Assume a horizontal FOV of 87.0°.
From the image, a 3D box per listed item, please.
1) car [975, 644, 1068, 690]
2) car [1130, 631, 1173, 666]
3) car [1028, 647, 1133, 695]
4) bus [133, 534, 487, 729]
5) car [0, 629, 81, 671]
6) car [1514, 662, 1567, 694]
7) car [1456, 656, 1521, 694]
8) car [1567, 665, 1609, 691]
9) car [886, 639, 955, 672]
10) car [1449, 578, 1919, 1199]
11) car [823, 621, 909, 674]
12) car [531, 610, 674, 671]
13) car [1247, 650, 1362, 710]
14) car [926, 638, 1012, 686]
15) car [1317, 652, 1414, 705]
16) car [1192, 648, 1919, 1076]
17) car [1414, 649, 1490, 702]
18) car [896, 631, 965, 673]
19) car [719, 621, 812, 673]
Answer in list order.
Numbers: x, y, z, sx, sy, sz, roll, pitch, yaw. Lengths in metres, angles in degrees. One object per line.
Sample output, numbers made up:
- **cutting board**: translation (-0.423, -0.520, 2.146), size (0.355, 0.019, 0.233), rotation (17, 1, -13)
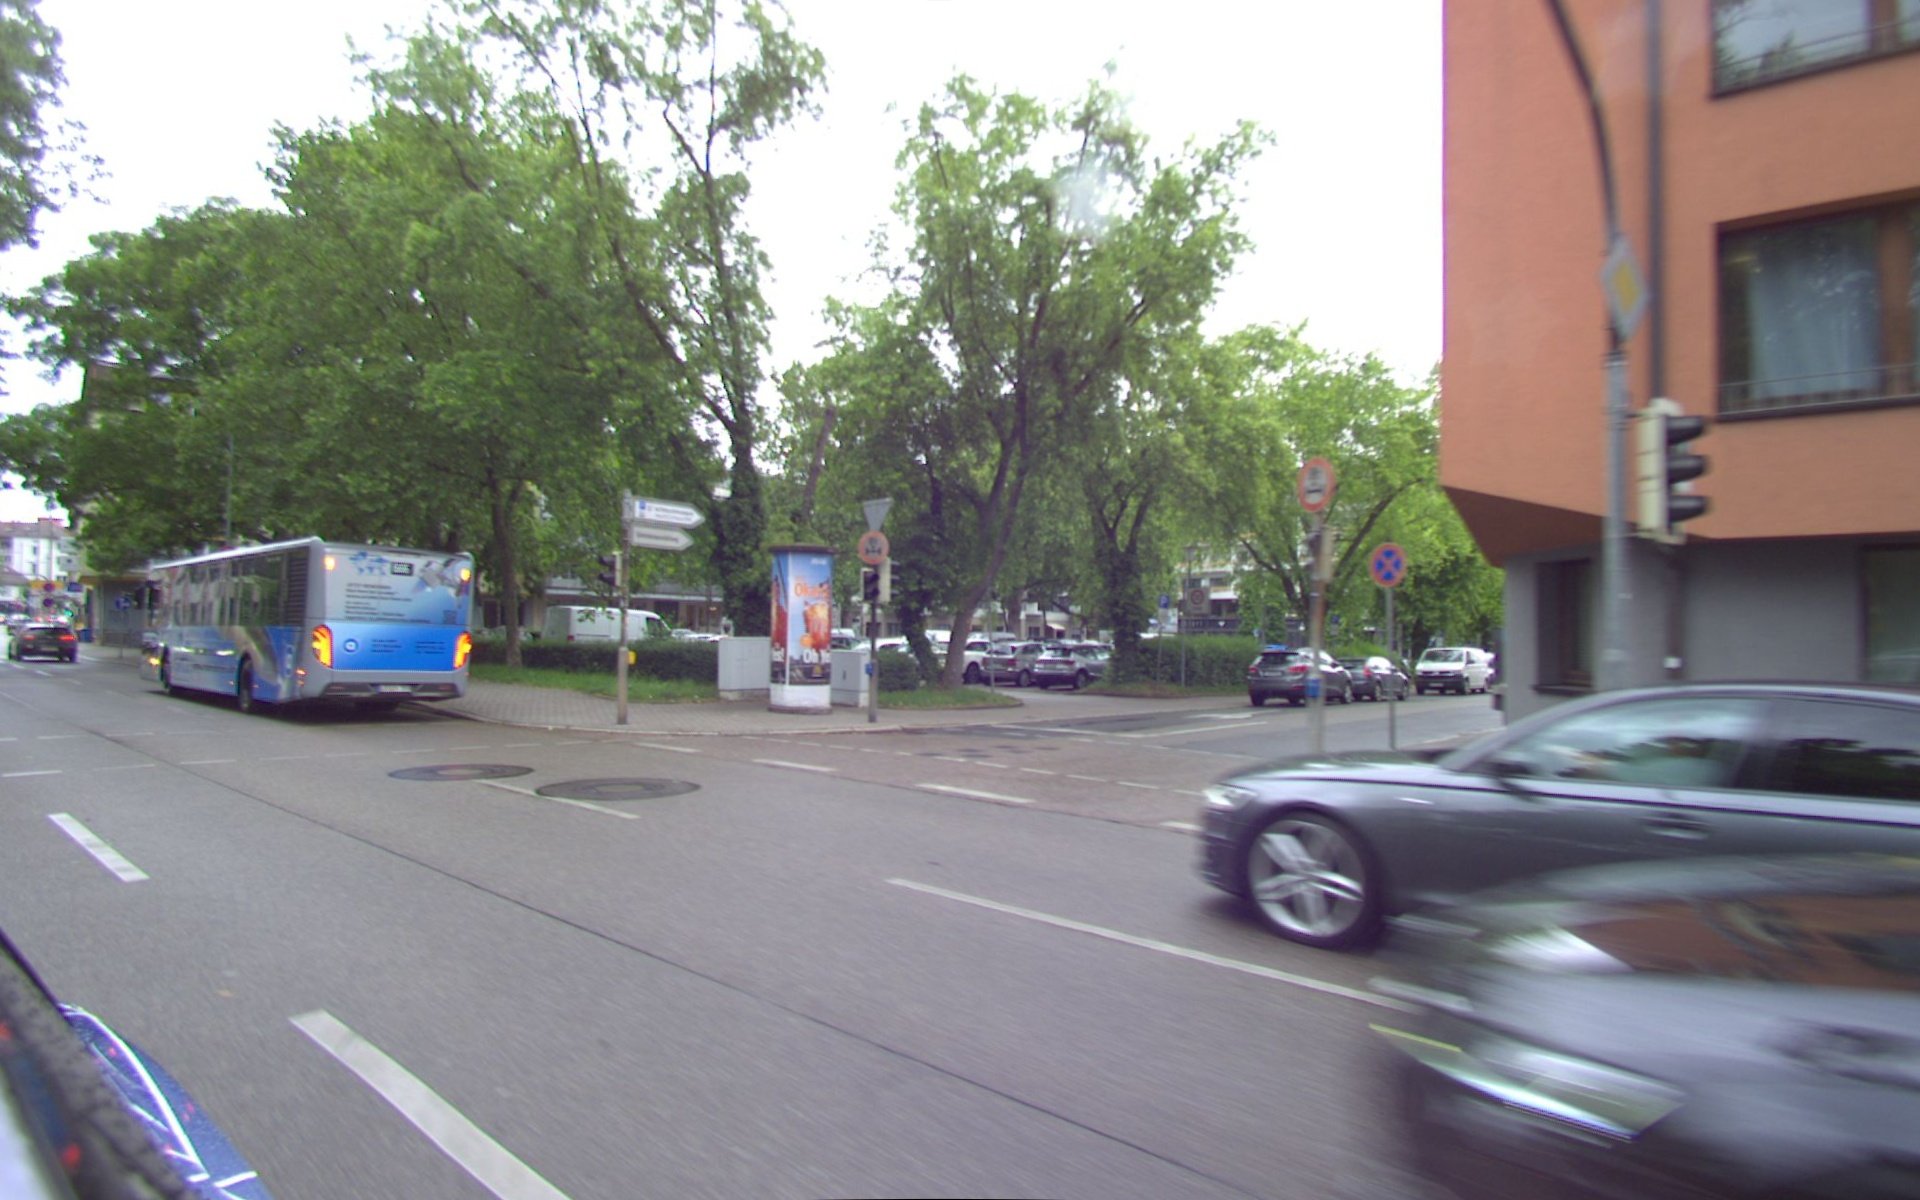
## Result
- **car**: translation (2.283, 2.404, 36.673), size (1.699, 1.550, 3.784), rotation (-1, -4, 34)
- **car**: translation (14.665, 3.715, 77.388), size (1.991, 2.633, 4.540), rotation (-1, -3, 28)
- **car**: translation (4.183, 2.413, 34.751), size (1.831, 1.529, 3.597), rotation (-2, -4, 43)
- **bus**: translation (-13.584, 0.612, 20.364), size (12.079, 2.962, 2.665), rotation (-1, -4, 41)
- **car**: translation (-36.233, 1.966, 39.787), size (4.804, 1.529, 1.779), rotation (-2, -6, 41)
- **car**: translation (31.132, 4.149, 54.240), size (1.817, 1.609, 4.314), rotation (-2, -5, 38)
- **car**: translation (23.936, 3.380, 45.761), size (1.817, 1.609, 4.314), rotation (-2, -5, 38)
- **car**: translation (41.020, 5.105, 66.043), size (1.817, 1.609, 4.314), rotation (-2, -5, 38)
- **car**: translation (-2.380, 3.406, 62.212), size (1.702, 1.937, 4.276), rotation (-2, -4, 42)
- **car**: translation (3.101, 0.742, 1.021), size (4.481, 1.469, 1.780), rotation (-1, -4, 36)
- **car**: translation (-4.818, 2.461, 52.334), size (1.995, 2.633, 4.531), rotation (-1, -4, 34)
- **car**: translation (-12.031, 1.405, 34.250), size (1.701, 1.937, 4.280), rotation (-2, -4, 39)
- **car**: translation (10.107, 2.300, 29.501), size (1.817, 1.609, 4.314), rotation (-2, -5, 38)
- **car**: translation (0.399, 2.285, 37.705), size (1.695, 1.676, 3.708), rotation (-1, -3, 28)
- **car**: translation (13.542, 2.586, 33.675), size (1.817, 1.609, 4.314), rotation (-2, -5, 38)
- **car**: translation (3.625, 0.991, 4.439), size (4.804, 1.426, 1.794), rotation (-1, -5, 41)
- **car**: translation (20.154, 3.069, 41.352), size (1.817, 2.015, 4.565), rotation (-2, -5, 38)
- **car**: translation (-1.918, 3.455, 67.047), size (2.000, 2.633, 4.520), rotation (-2, -4, 42)
- **car**: translation (-10.287, 2.503, 53.801), size (2.000, 2.633, 4.520), rotation (-2, -4, 42)
